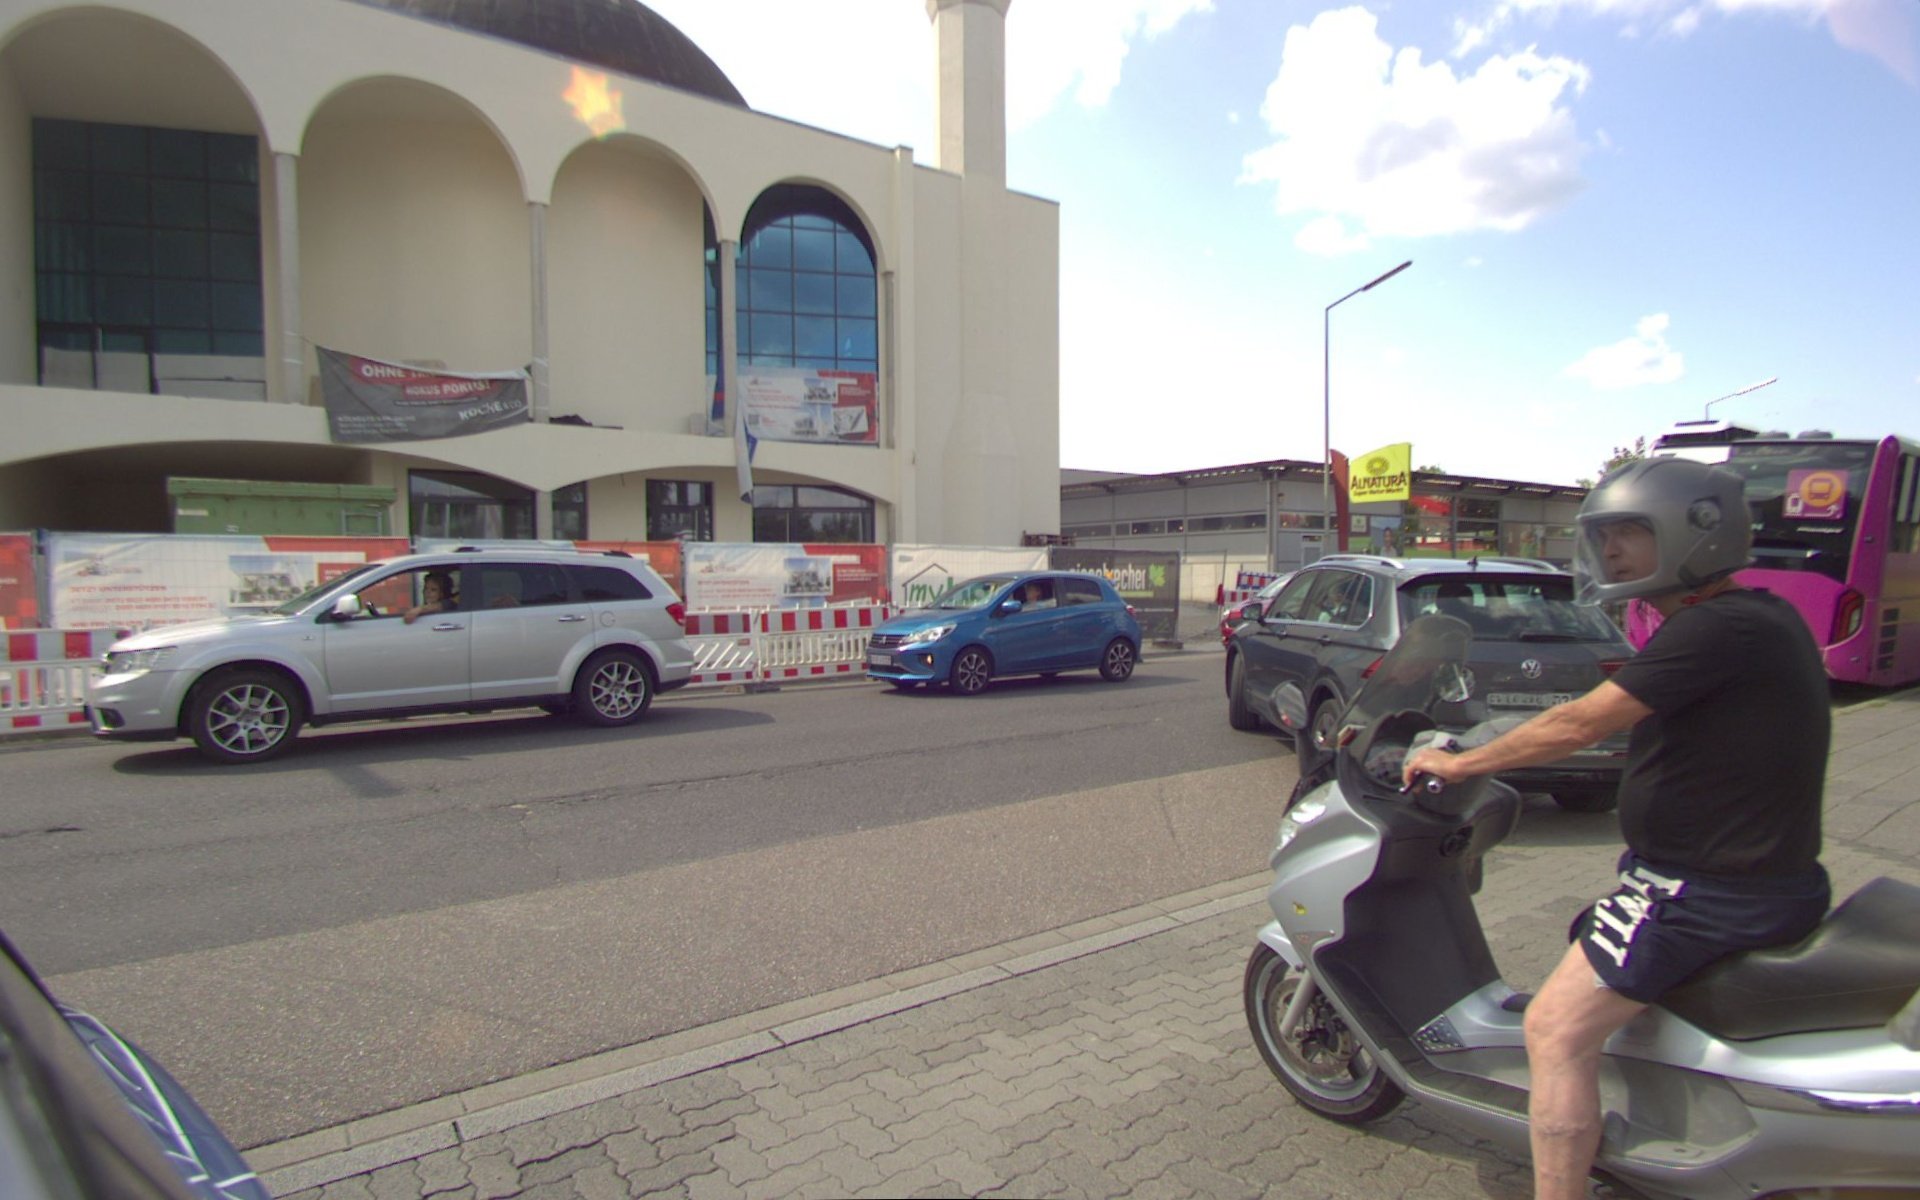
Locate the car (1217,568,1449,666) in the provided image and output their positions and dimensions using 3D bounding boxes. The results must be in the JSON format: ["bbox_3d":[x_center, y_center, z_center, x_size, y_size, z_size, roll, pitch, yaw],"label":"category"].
[{"bbox_3d":[6.605,0.222,17.763,4.124,1.521,1.796,-1,1,-35],"label":"car"}]

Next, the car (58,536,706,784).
[{"bbox_3d":[-4.939,0.403,9.203,4.762,1.712,1.872,-1,0,-39],"label":"car"}]

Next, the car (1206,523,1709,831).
[{"bbox_3d":[3.300,0.461,7.846,1.745,1.678,4.384,-1,-1,1],"label":"car"}]

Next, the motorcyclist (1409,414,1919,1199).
[{"bbox_3d":[1.445,0.530,2.026,0.776,1.641,0.688,-1,1,-33],"label":"motorcyclist"}]

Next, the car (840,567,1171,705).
[{"bbox_3d":[0.675,0.354,13.132,4.127,1.525,1.701,-1,1,-36],"label":"car"}]

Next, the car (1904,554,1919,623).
[{"bbox_3d":[26.364,-0.259,26.421,3.935,1.759,1.801,-1,4,-38],"label":"car"}]

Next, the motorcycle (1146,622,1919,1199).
[{"bbox_3d":[1.395,0.747,2.062,0.661,1.315,2.219,-1,1,-33],"label":"motorcycle"}]

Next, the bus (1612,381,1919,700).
[{"bbox_3d":[13.947,-0.756,15.227,11.377,3.389,2.900,-1,1,-35],"label":"bus"}]
